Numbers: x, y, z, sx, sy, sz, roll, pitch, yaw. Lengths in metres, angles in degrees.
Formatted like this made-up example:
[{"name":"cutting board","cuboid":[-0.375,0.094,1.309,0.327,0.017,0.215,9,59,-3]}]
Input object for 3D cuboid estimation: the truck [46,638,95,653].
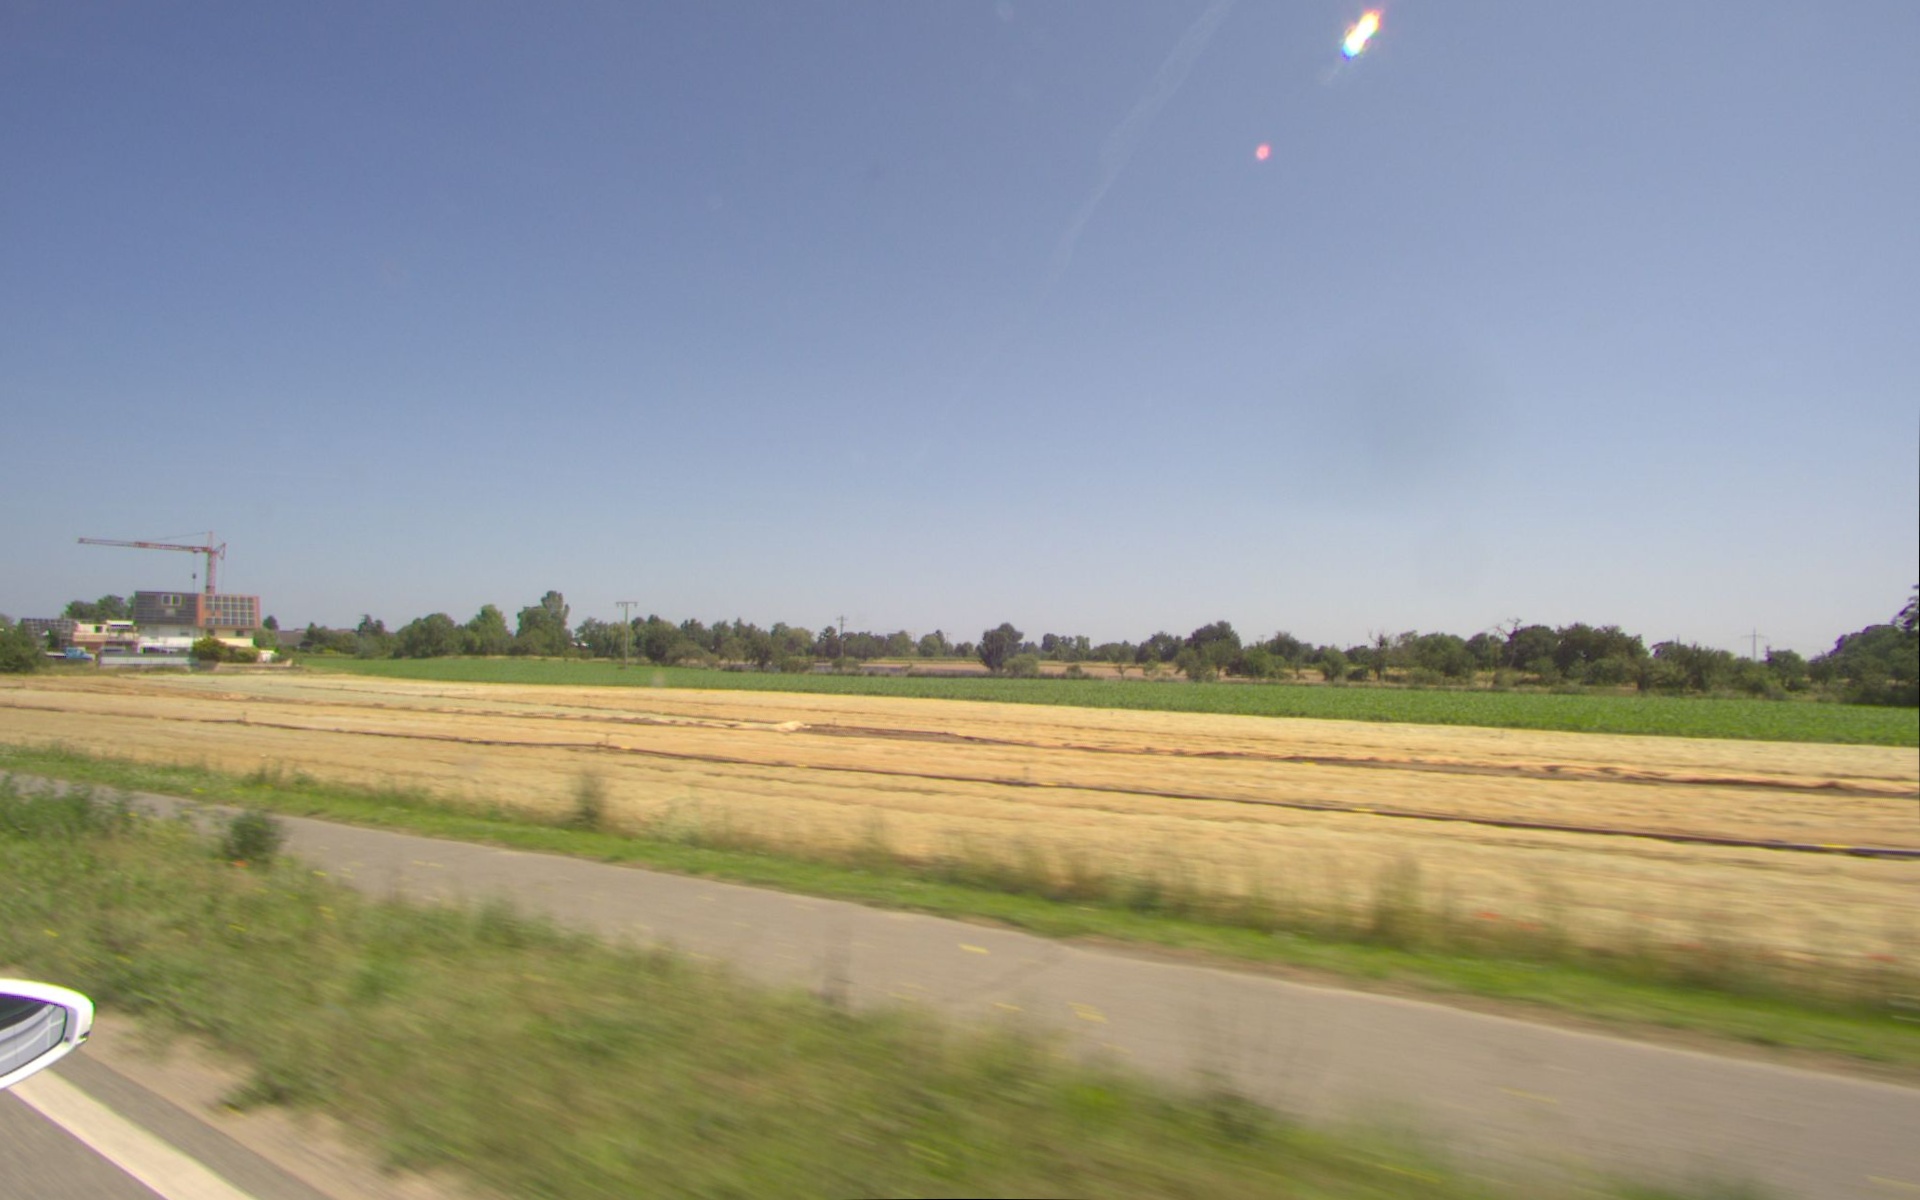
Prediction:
[{"name":"truck","cuboid":[-138.863,7.134,156.344,5.510,2.257,2.198,3,-3,-39]}]
